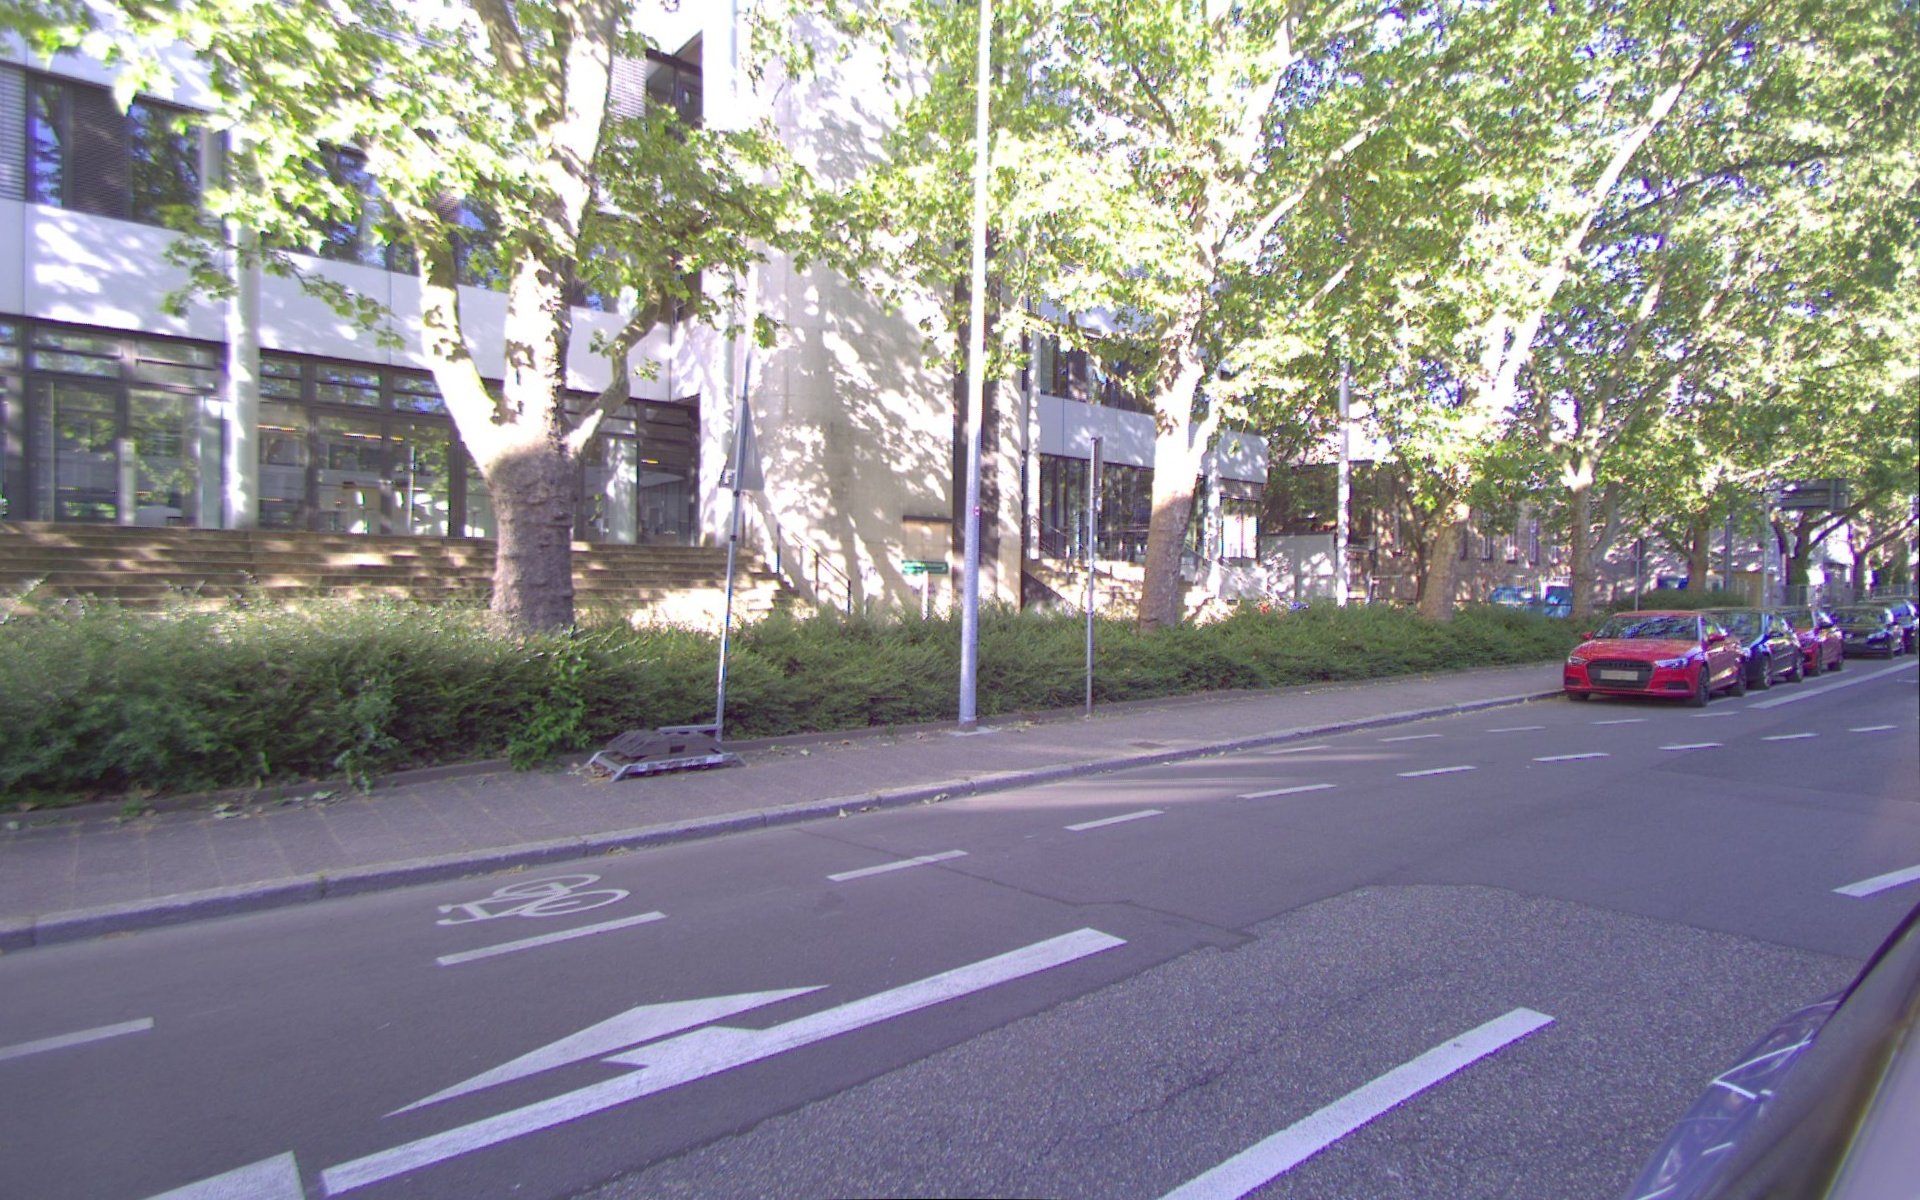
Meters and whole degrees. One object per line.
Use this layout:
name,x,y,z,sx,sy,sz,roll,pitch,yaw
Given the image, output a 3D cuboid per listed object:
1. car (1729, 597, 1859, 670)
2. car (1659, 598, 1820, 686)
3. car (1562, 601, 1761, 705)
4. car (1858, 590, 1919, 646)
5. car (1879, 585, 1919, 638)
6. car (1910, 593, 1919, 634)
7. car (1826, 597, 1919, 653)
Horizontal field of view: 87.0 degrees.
car,18.597,0.678,22.528,3.715,1.452,1.664,0,1,-41
car,14.796,0.707,19.134,3.930,1.485,1.684,0,0,-41
car,11.231,0.757,16.107,3.962,1.439,1.722,0,-2,-42
car,29.501,0.528,31.642,3.770,1.640,1.684,0,1,-41
car,33.956,0.395,35.697,4.354,1.790,1.818,0,1,-41
car,38.694,0.516,39.713,3.801,1.581,1.684,0,1,-41
car,26.000,0.659,28.688,3.930,1.469,1.684,0,1,-41
